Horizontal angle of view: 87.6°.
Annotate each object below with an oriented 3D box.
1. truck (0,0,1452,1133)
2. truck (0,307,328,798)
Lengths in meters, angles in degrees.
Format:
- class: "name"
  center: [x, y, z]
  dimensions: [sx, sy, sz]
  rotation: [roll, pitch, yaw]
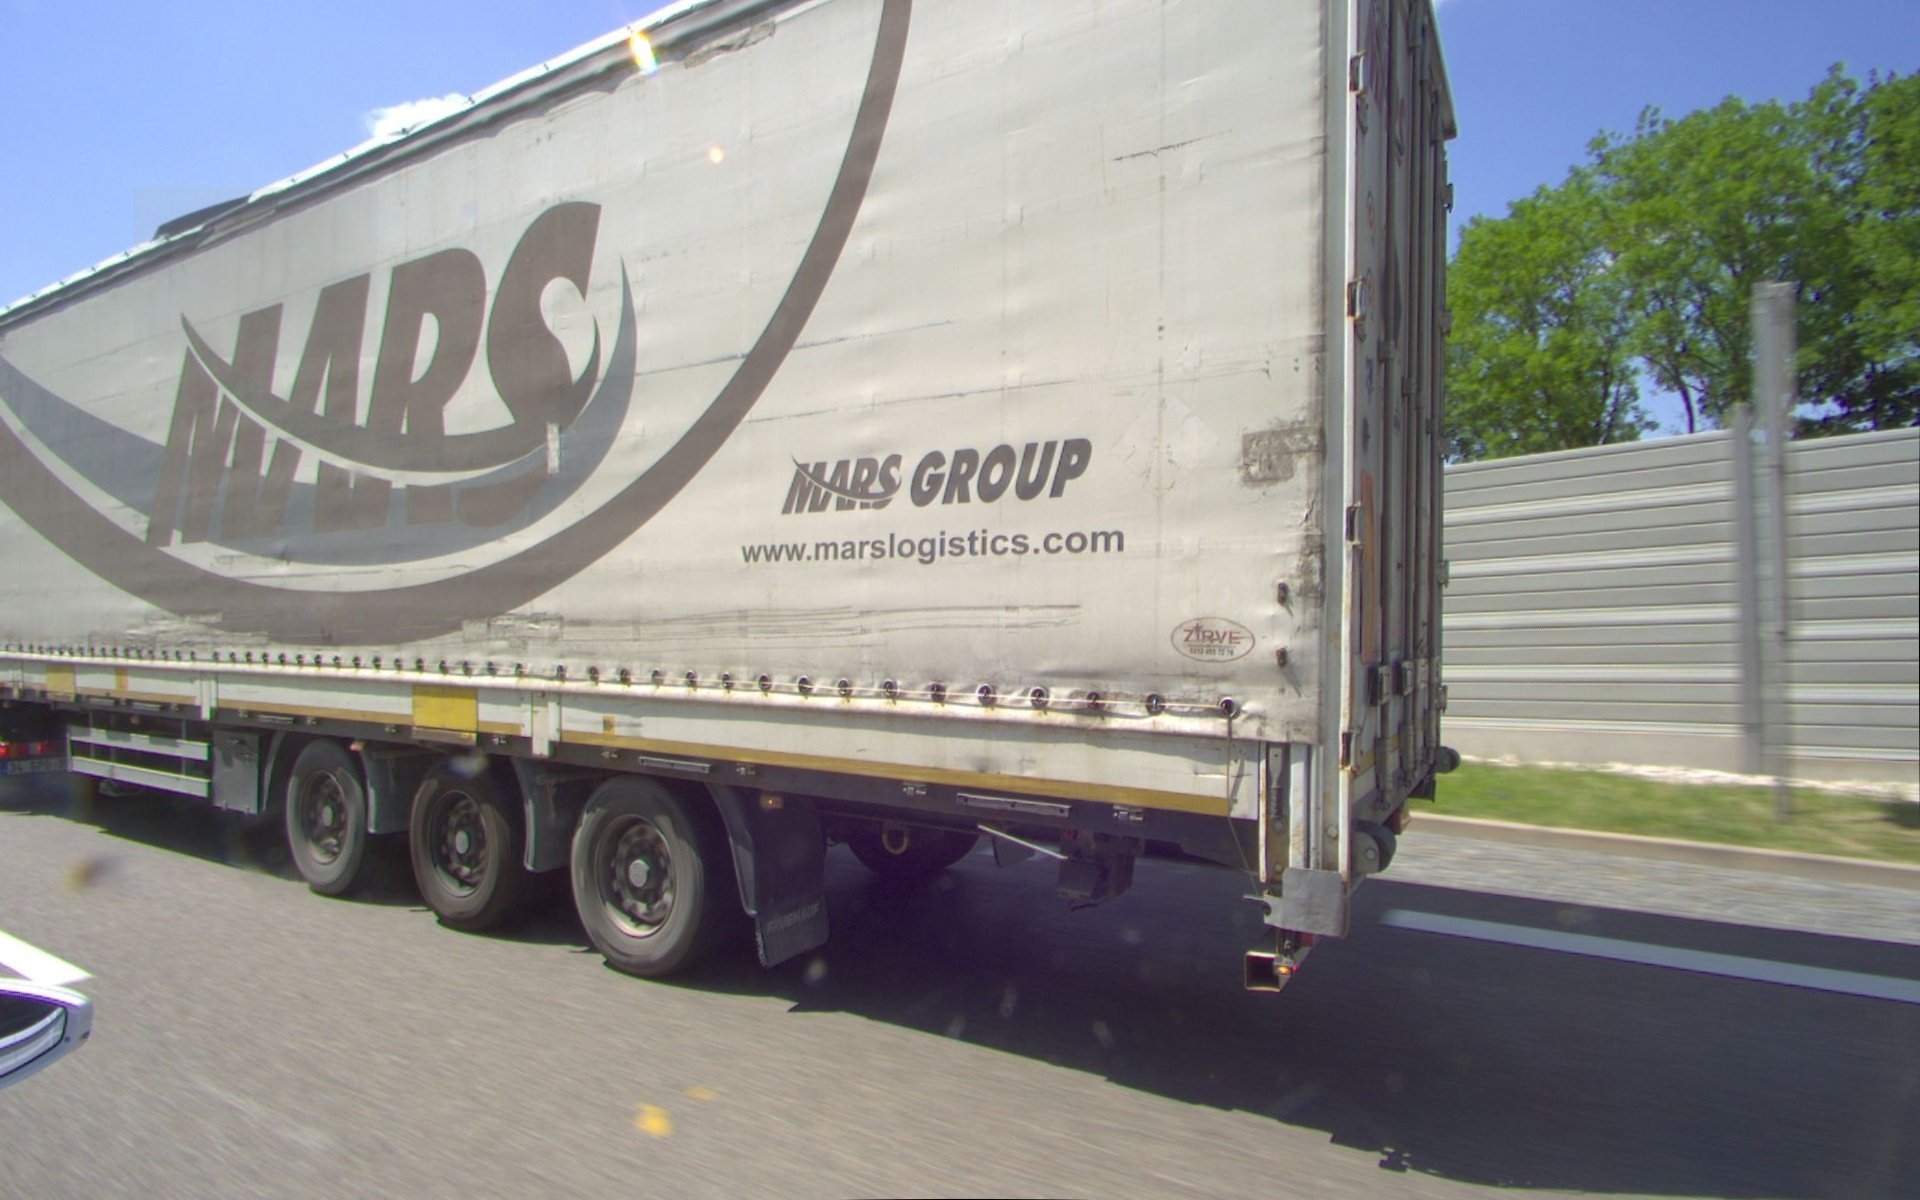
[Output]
- class: "truck"
  center: [-4.046, -0.464, 7.362]
  dimensions: [13.544, 4.119, 2.722]
  rotation: [-2, -2, 32]
- class: "truck"
  center: [-9.833, -0.290, 10.950]
  dimensions: [5.672, 4.119, 2.715]
  rotation: [-2, -2, 32]
